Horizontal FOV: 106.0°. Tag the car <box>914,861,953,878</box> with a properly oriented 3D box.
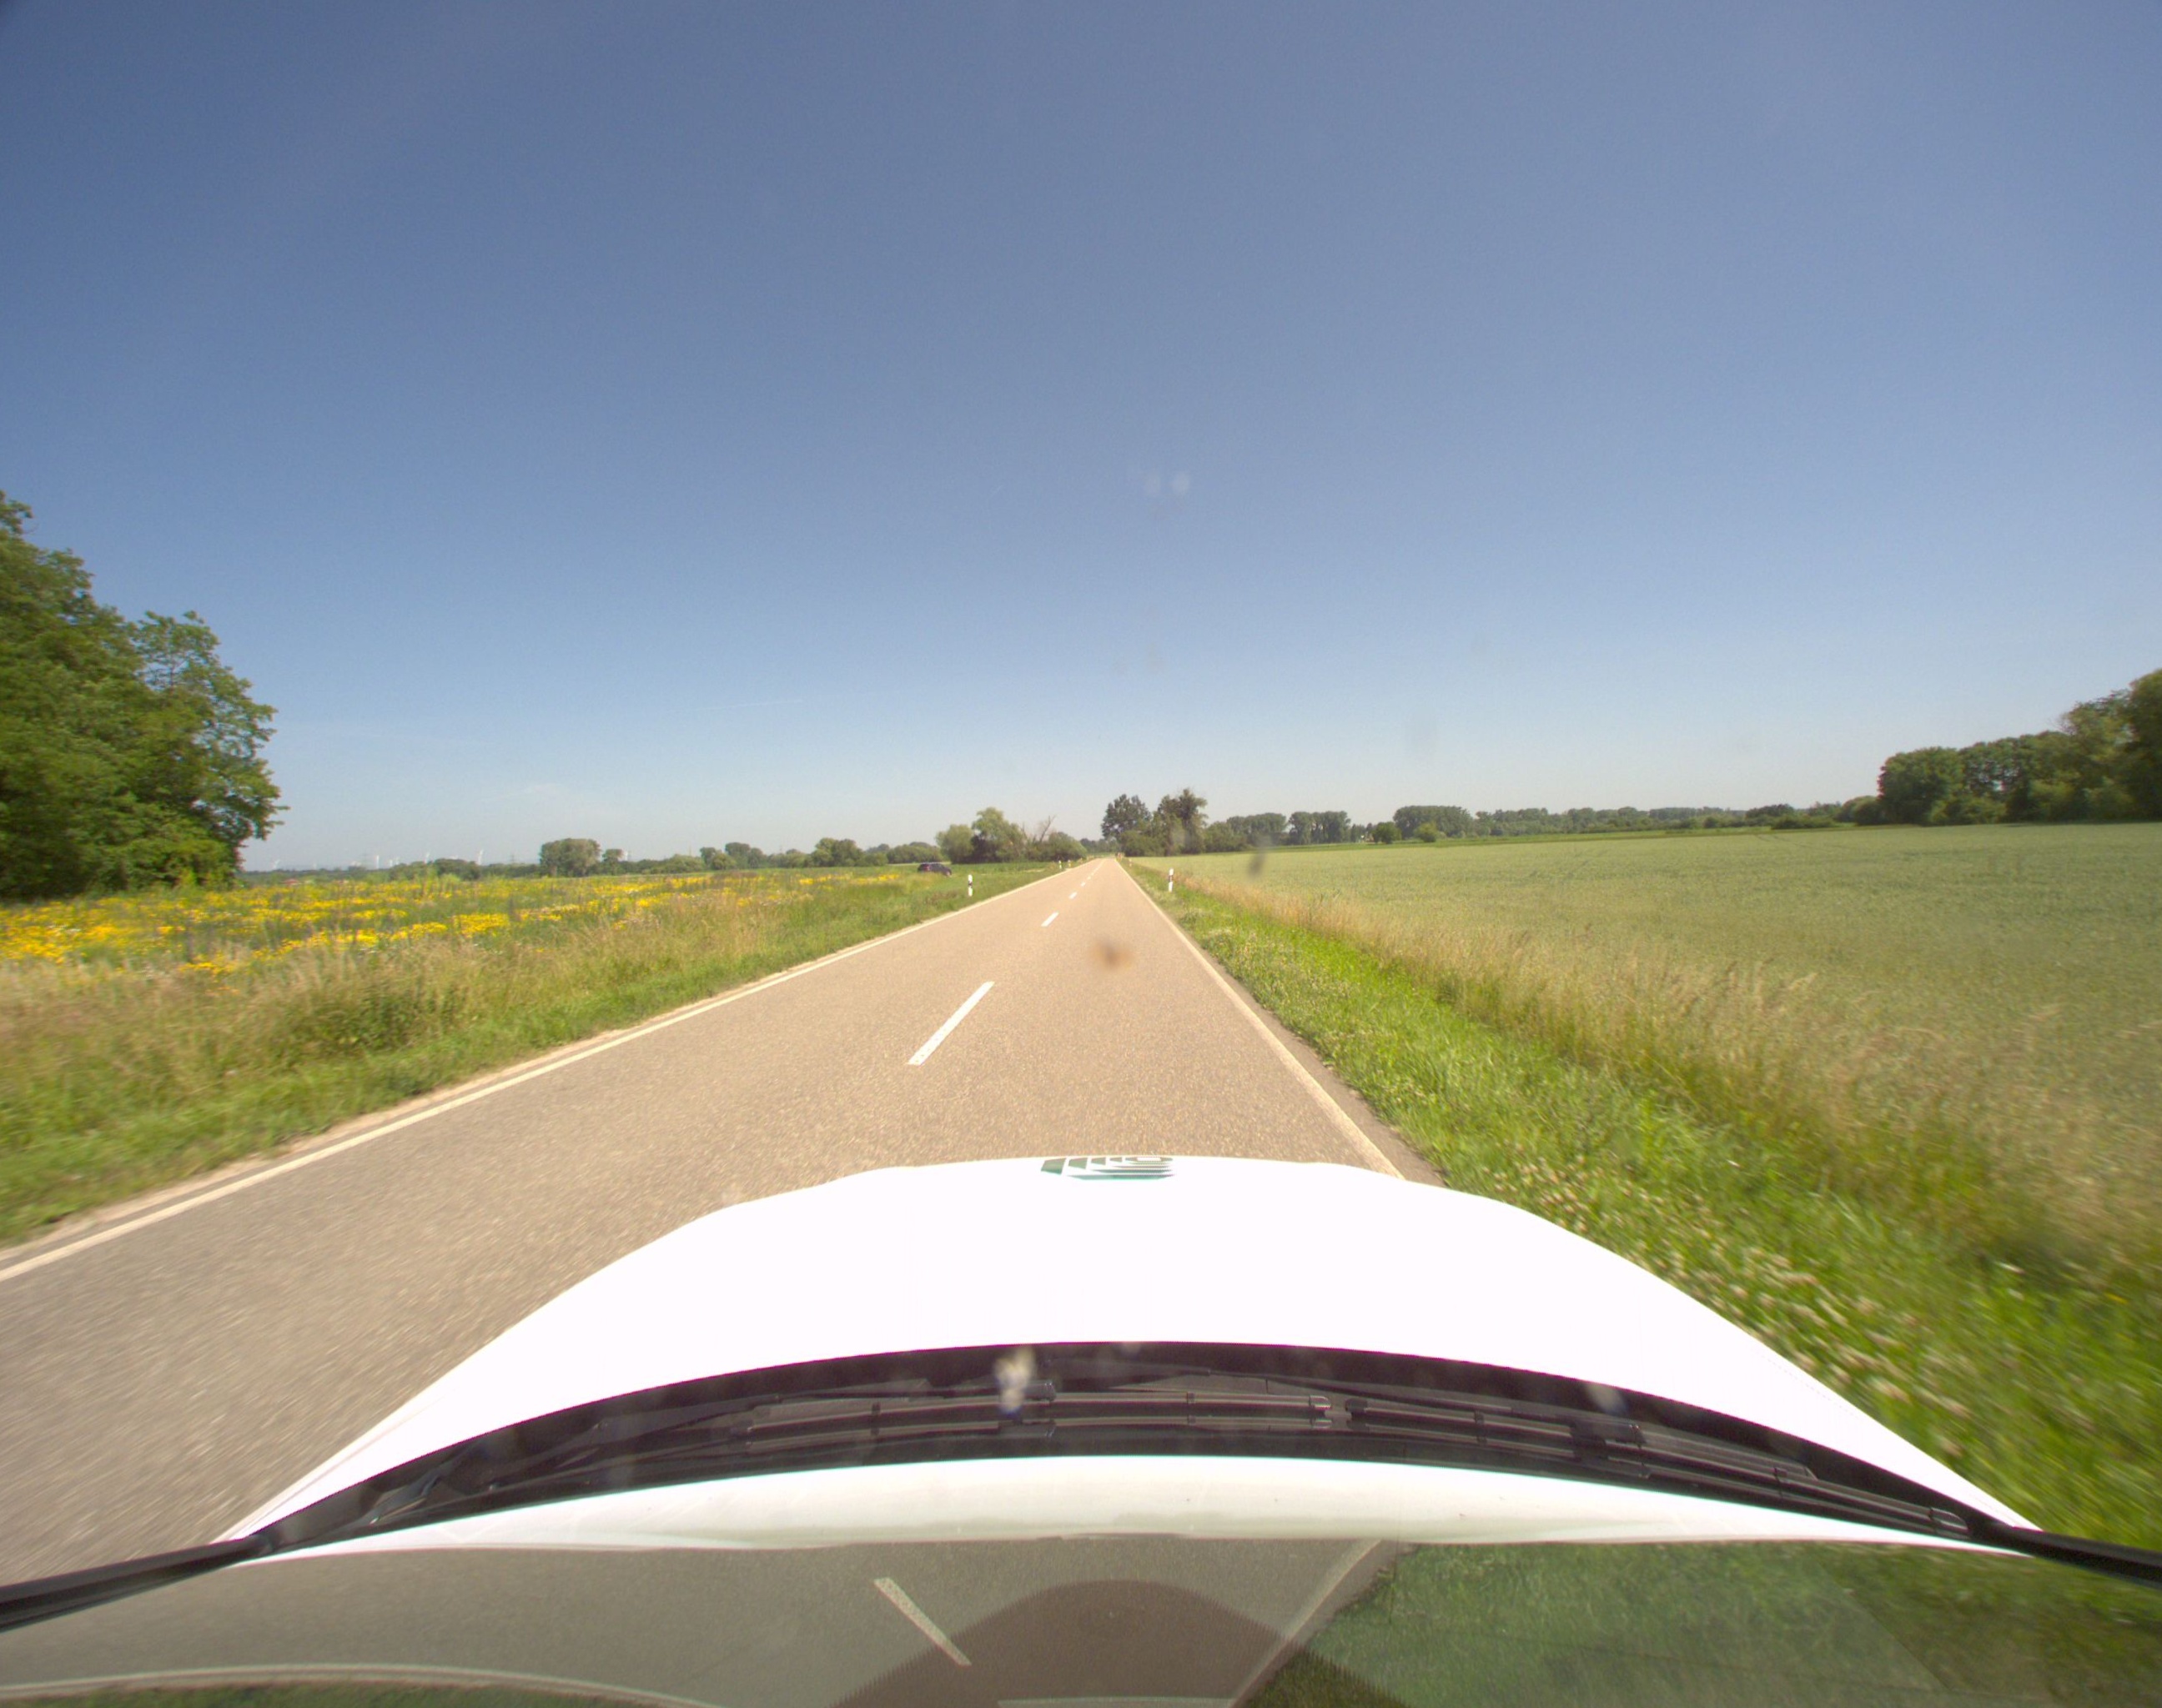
[{"bbox_3d":[-16.241,1.689,89.631,1.736,1.651,4.557,-3,0,28],"label":"car"}]
